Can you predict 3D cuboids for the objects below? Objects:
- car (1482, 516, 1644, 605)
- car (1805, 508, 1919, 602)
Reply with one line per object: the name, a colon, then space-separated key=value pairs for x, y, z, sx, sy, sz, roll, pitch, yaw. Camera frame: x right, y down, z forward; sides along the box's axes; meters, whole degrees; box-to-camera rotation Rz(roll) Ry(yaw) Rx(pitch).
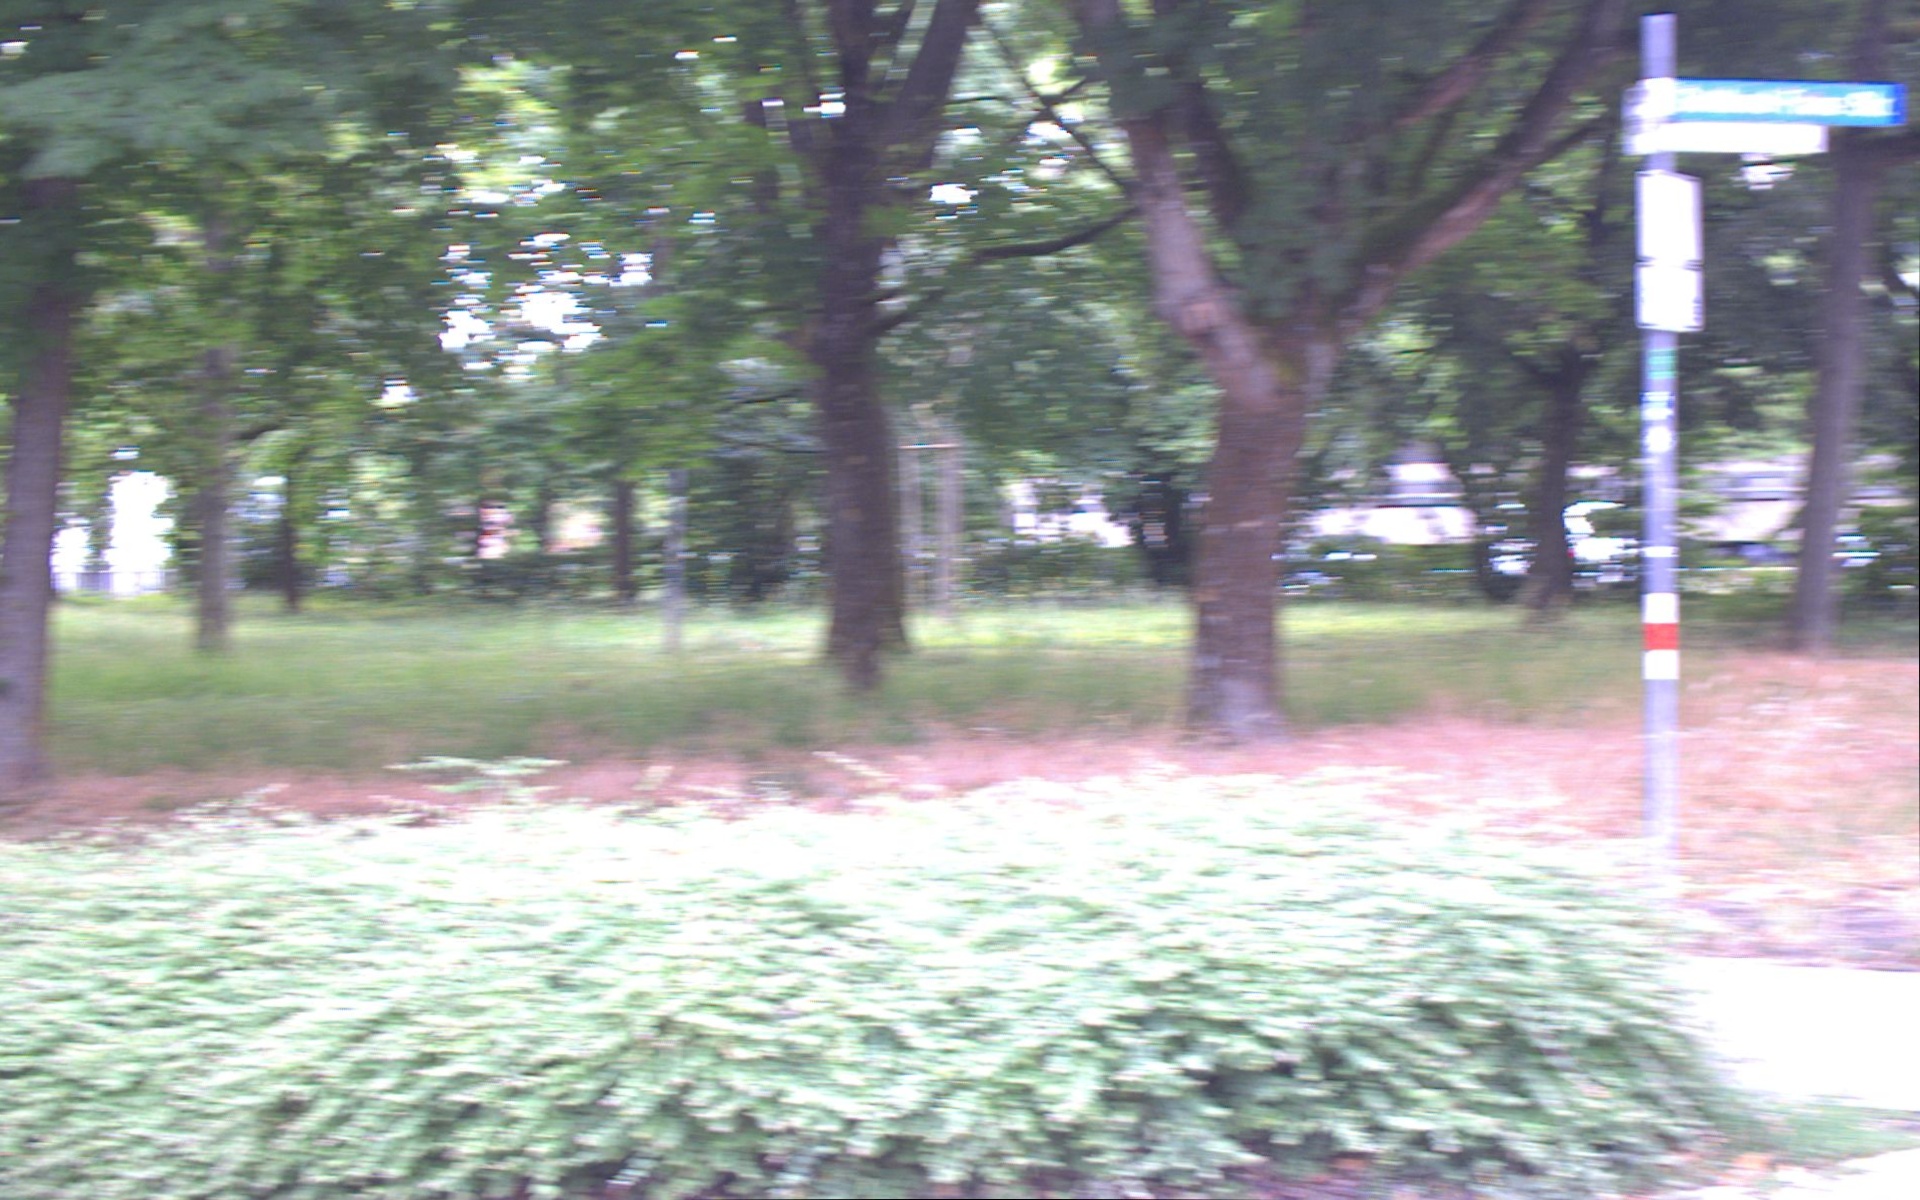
car: x=11.404 y=-0.746 z=64.826 sx=1.920 sy=1.612 sz=3.994 roll=0 pitch=1 yaw=27
car: x=16.531 y=-0.798 z=61.303 sx=1.996 sy=1.612 sz=3.994 roll=0 pitch=1 yaw=27
